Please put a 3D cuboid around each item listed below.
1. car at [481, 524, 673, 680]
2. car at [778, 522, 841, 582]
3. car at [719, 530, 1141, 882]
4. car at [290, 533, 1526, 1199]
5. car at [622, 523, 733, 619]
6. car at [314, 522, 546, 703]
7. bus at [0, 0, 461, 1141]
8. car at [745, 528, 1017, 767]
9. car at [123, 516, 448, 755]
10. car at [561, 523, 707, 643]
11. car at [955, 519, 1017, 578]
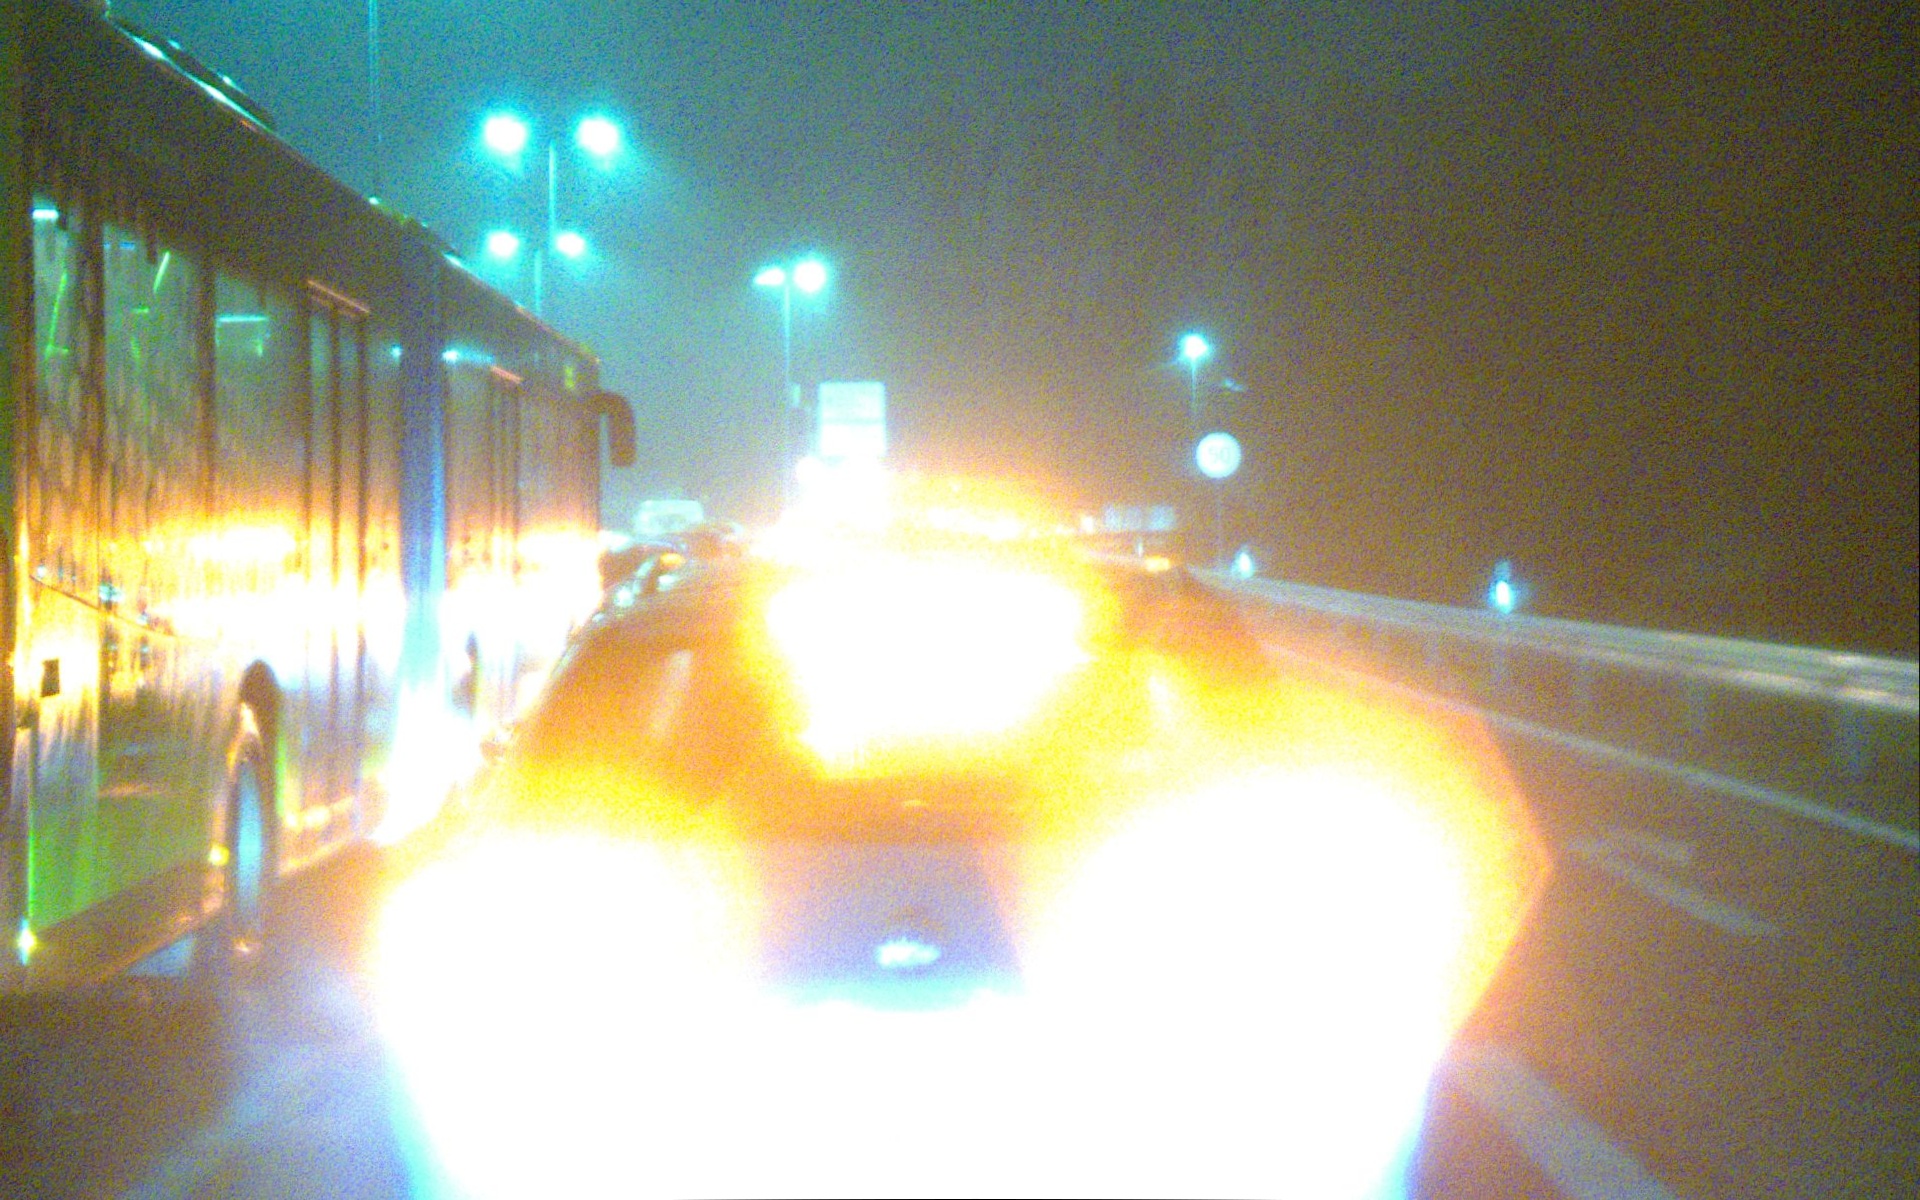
[{"bbox_3d":[-3.959,-0.021,36.053,1.779,1.538,3.875,0,1,-3],"label":"car"},{"bbox_3d":[-4.652,-1.486,106.790,1.816,1.791,3.803,1,1,-1],"label":"car"},{"bbox_3d":[-0.226,0.393,16.564,1.731,1.444,4.725,0,1,-3],"label":"car"},{"bbox_3d":[-0.122,0.602,7.363,1.821,1.479,4.568,0,1,-1],"label":"car"},{"bbox_3d":[-4.701,-0.508,57.514,1.779,1.538,3.875,0,1,-4],"label":"car"},{"bbox_3d":[-4.756,0.069,31.289,1.779,1.538,3.875,0,1,-4],"label":"car"},{"bbox_3d":[-3.571,-0.412,11.813,2.815,3.013,8.688,0,1,-3],"label":"bus"},{"bbox_3d":[-0.636,0.274,24.490,1.739,1.559,3.777,0,1,-4],"label":"car"},{"bbox_3d":[-4.645,0.189,24.160,1.779,1.538,3.875,0,1,-4],"label":"car"},{"bbox_3d":[-4.357,-0.261,46.383,1.779,1.538,3.875,0,1,-3],"label":"car"},{"bbox_3d":[0.839,-1.691,113.890,1.952,1.875,4.000,1,1,-1],"label":"car"}]
